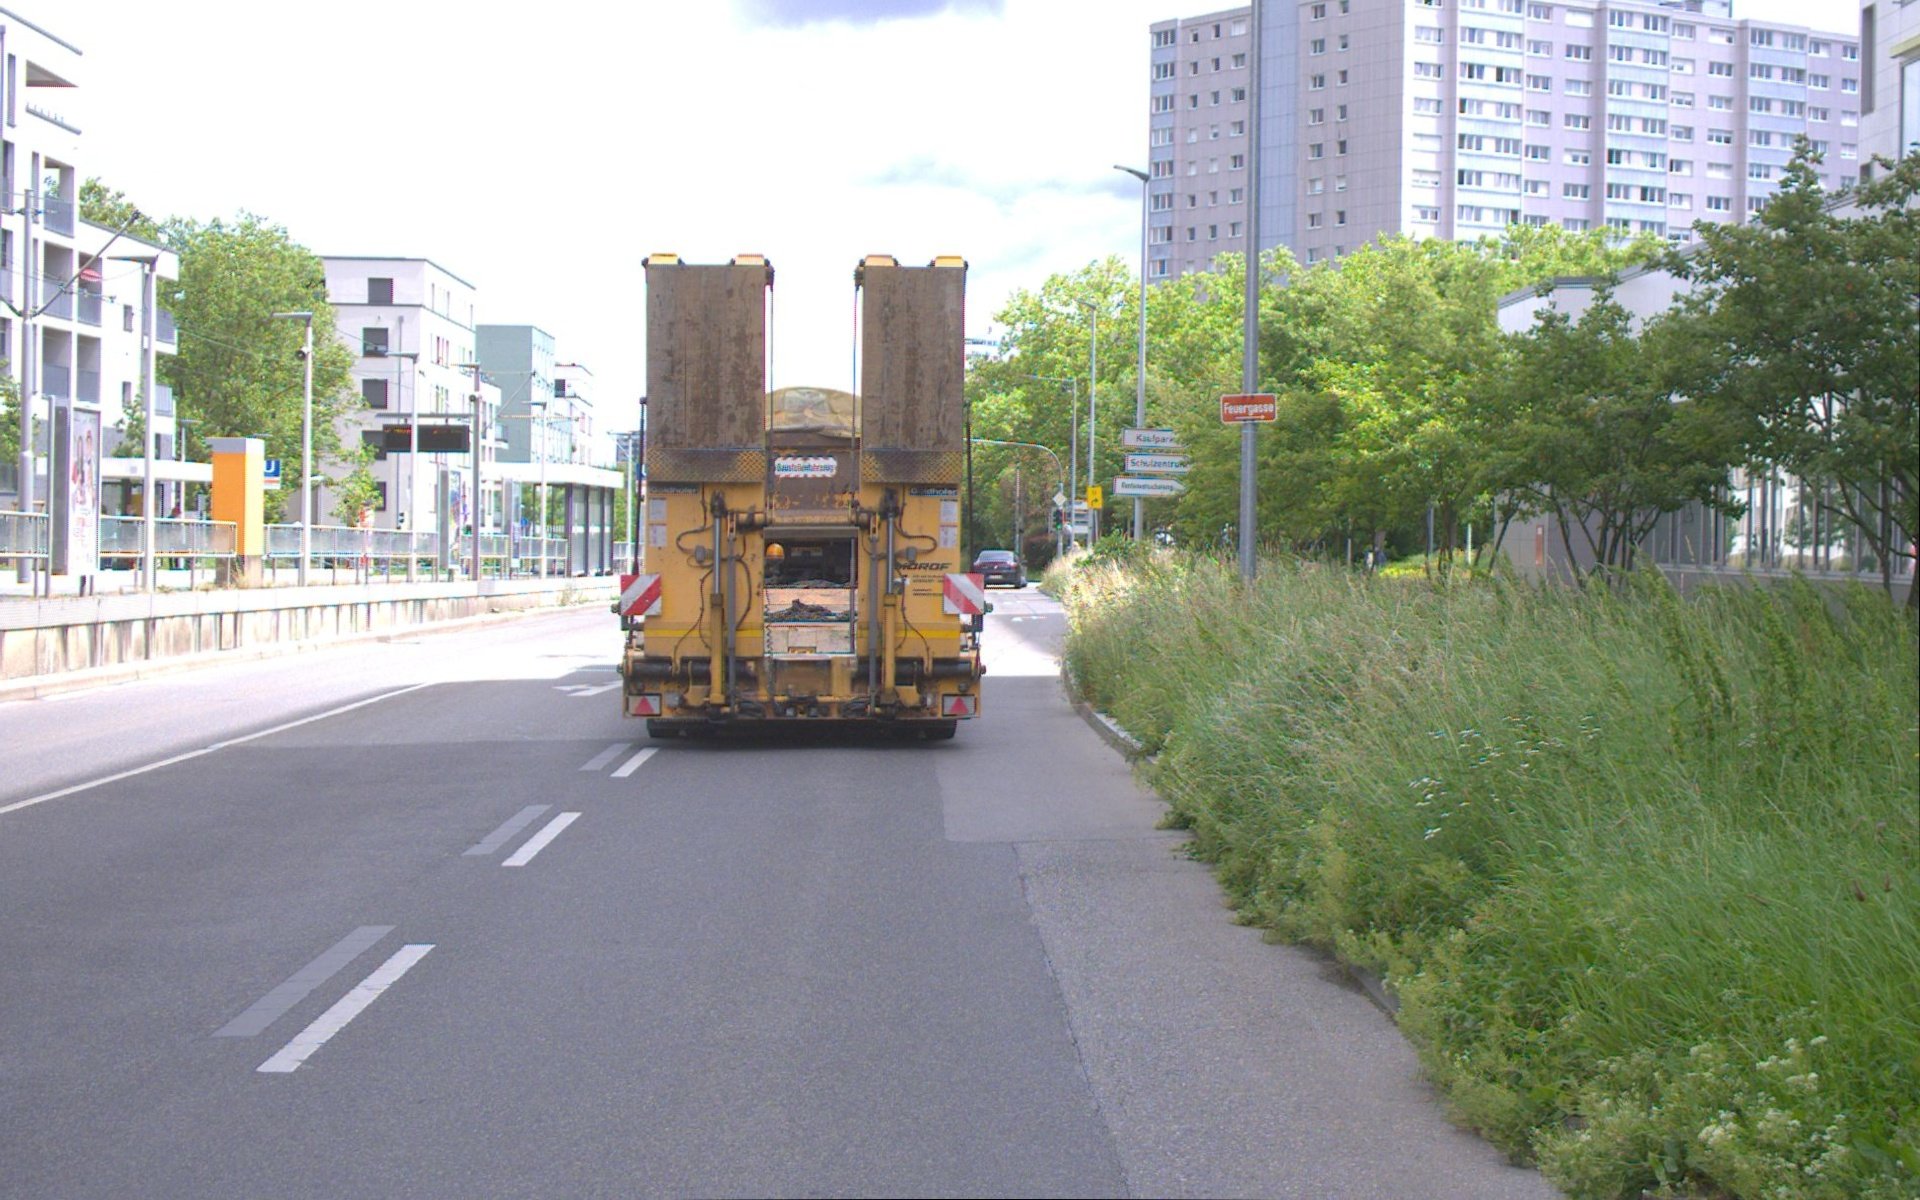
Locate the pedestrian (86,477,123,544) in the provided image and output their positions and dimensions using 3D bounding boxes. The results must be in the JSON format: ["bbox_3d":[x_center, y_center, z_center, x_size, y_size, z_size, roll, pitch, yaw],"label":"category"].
[{"bbox_3d":[-20.613,-2.155,82.833,0.488,1.591,0.676,2,1,43],"label":"pedestrian"}]

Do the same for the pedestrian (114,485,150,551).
[{"bbox_3d":[-20.237,-2.000,84.049,0.488,1.591,0.676,1,1,35],"label":"pedestrian"}]

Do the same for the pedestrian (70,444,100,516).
[{"bbox_3d":[-21.144,-2.903,83.061,0.487,1.719,0.677,1,1,-34],"label":"pedestrian"}]

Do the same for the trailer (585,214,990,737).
[{"bbox_3d":[-1.171,-0.937,29.270,2.729,3.546,11.254,1,1,0],"label":"trailer"}]

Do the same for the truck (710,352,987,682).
[{"bbox_3d":[-1.136,-0.901,39.082,2.753,3.302,8.352,1,1,0],"label":"truck"}]
